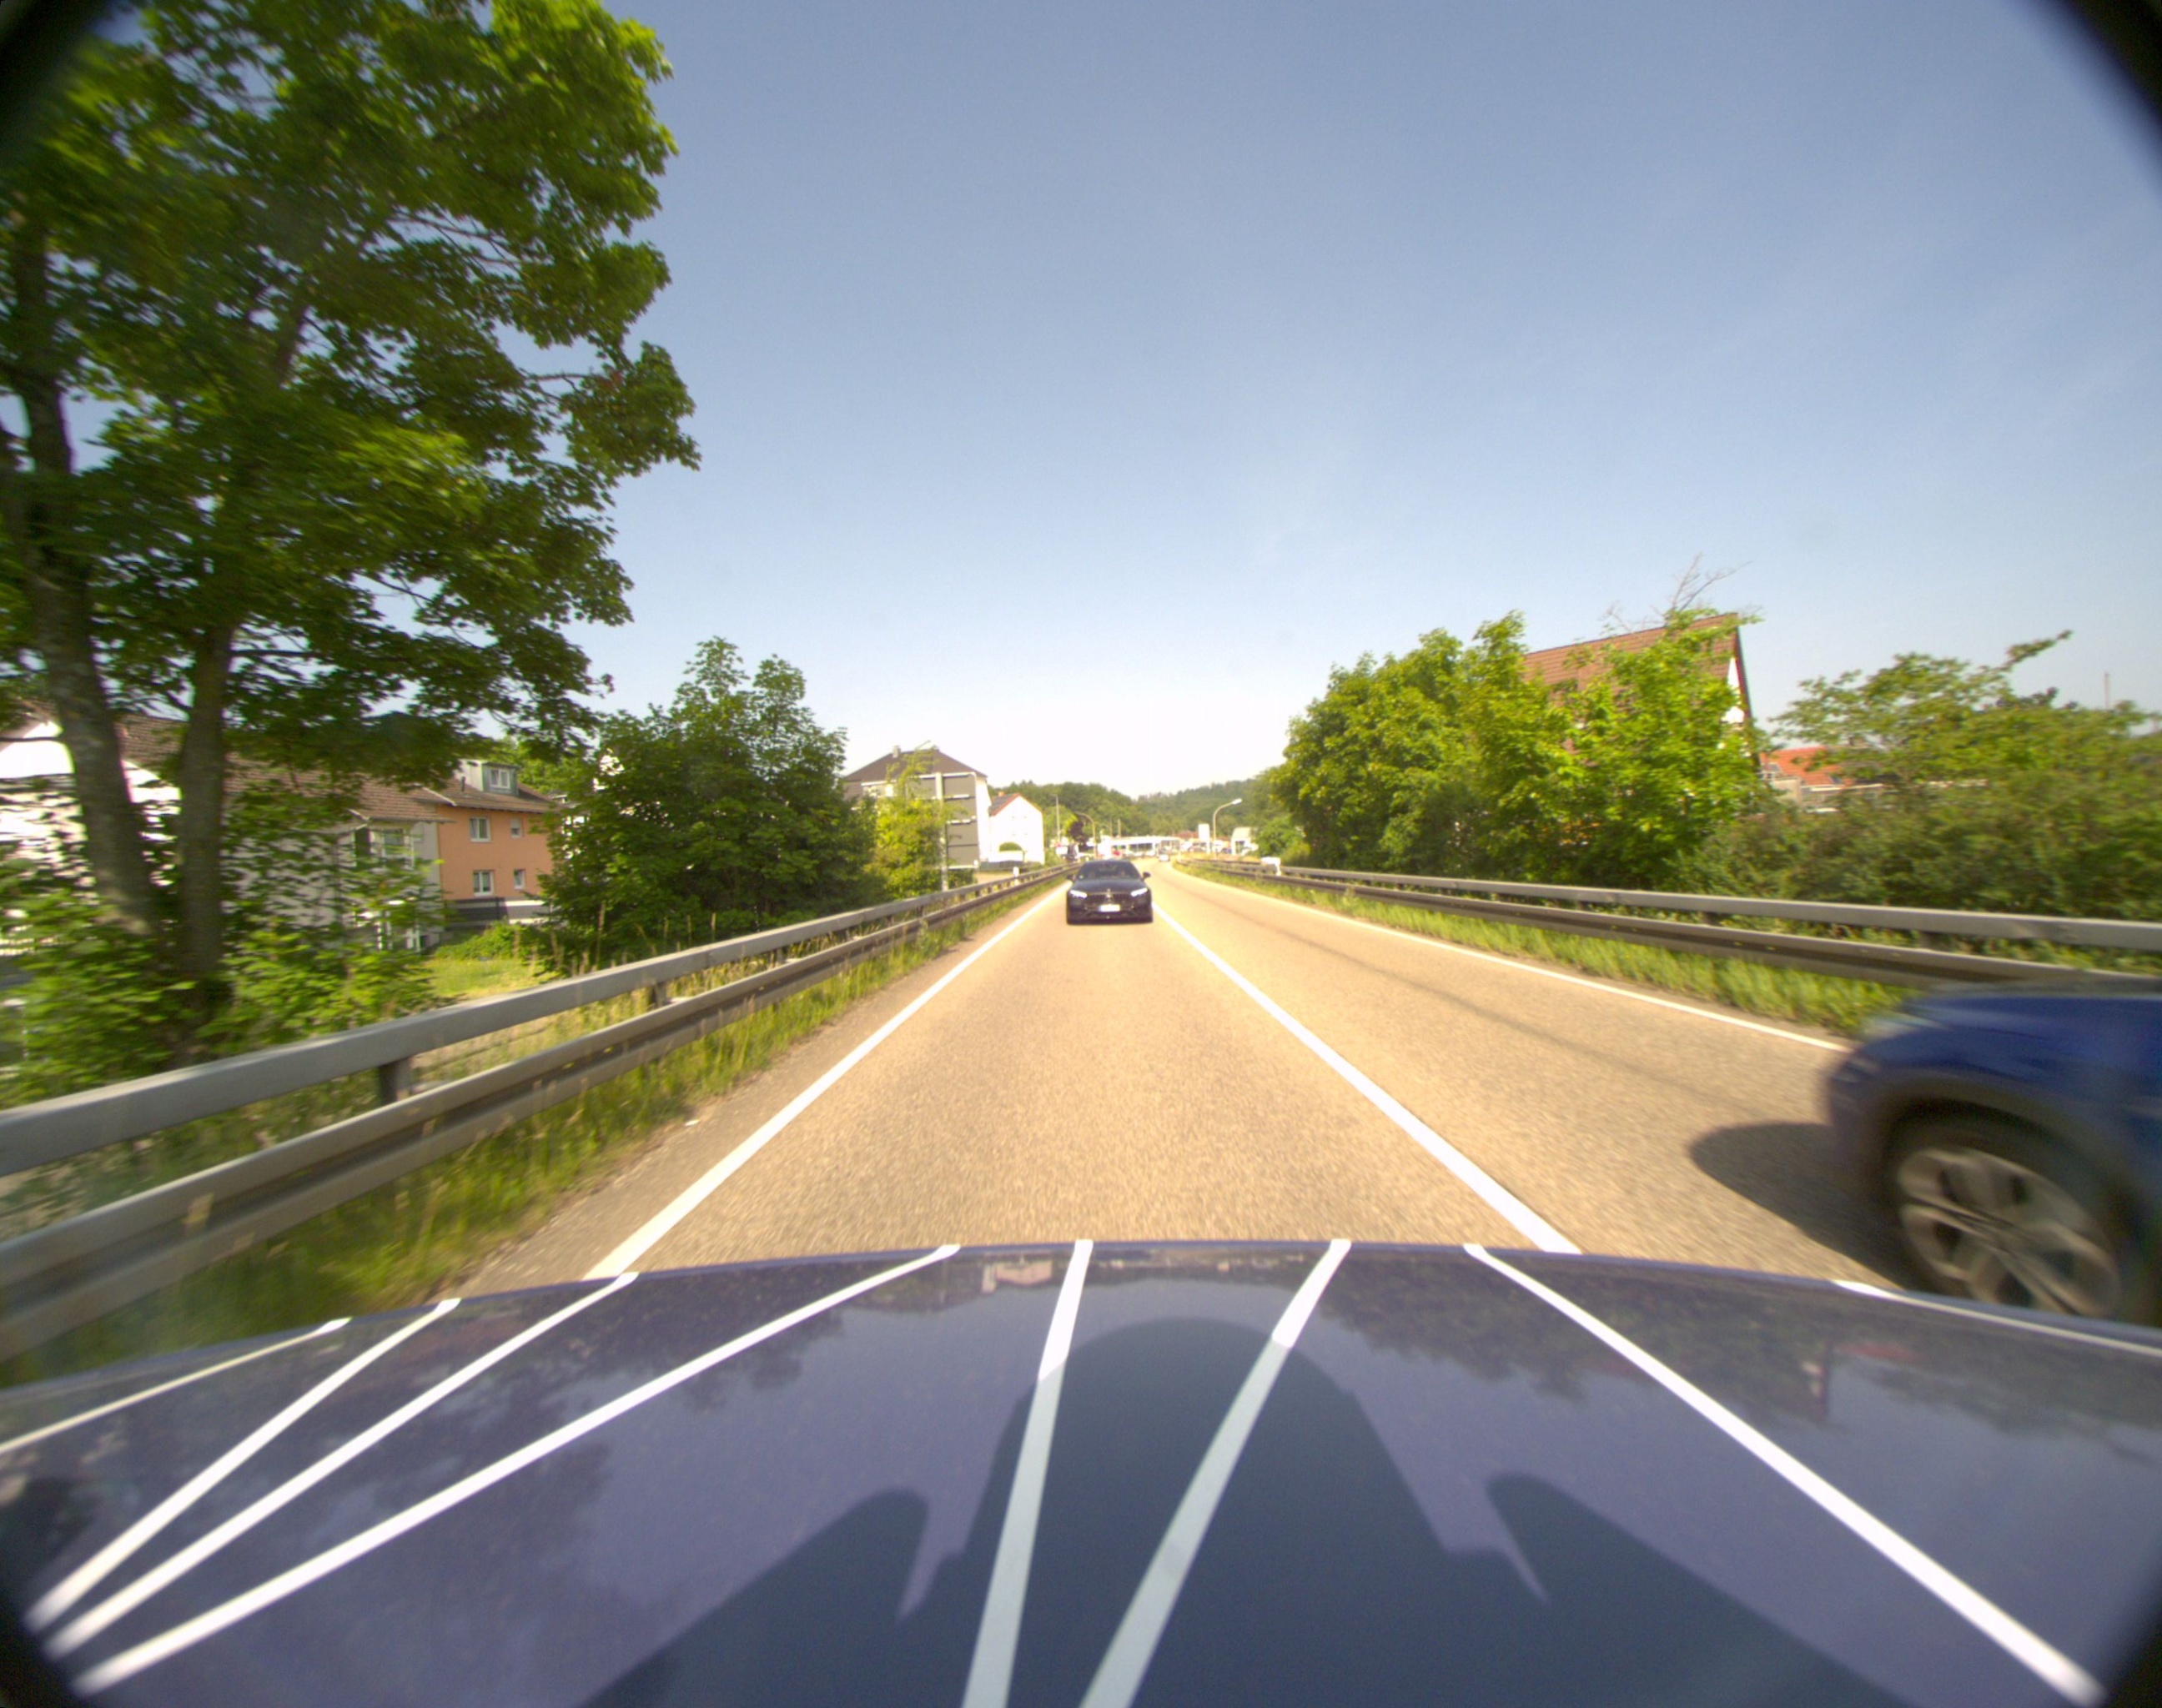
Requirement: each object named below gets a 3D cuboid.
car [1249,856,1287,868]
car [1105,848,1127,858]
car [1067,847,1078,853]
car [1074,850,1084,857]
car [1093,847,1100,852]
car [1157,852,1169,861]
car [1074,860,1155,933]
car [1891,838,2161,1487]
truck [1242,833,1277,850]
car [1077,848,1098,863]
[{"bbox_3d":[24.520,0.988,99.856,4.625,1.374,1.743,-2,1,4],"label":"car"},{"bbox_3d":[6.497,-0.275,142.230,3.997,1.441,1.764,-6,1,1],"label":"car"},{"bbox_3d":[-2.009,-0.974,178.307,1.914,1.397,4.520,-2,1,-9],"label":"car"},{"bbox_3d":[-0.409,-0.102,170.028,1.656,1.359,3.659,-2,1,-9],"label":"car"},{"bbox_3d":[5.168,-1.514,256.155,2.001,1.537,4.611,-1,2,7],"label":"car"},{"bbox_3d":[13.394,0.459,124.694,1.762,1.402,3.990,-1,1,4],"label":"car"},{"bbox_3d":[0.708,0.931,18.296,1.716,1.382,4.146,-1,2,0],"label":"car"},{"bbox_3d":[3.491,0.753,0.419,1.812,1.552,3.992,-1,1,0],"label":"car"},{"bbox_3d":[39.670,-2.802,168.755,8.225,3.536,2.799,-3,1,-35],"label":"truck"},{"bbox_3d":[0.874,0.149,101.083,1.997,1.933,5.364,-2,0,9],"label":"car"}]
